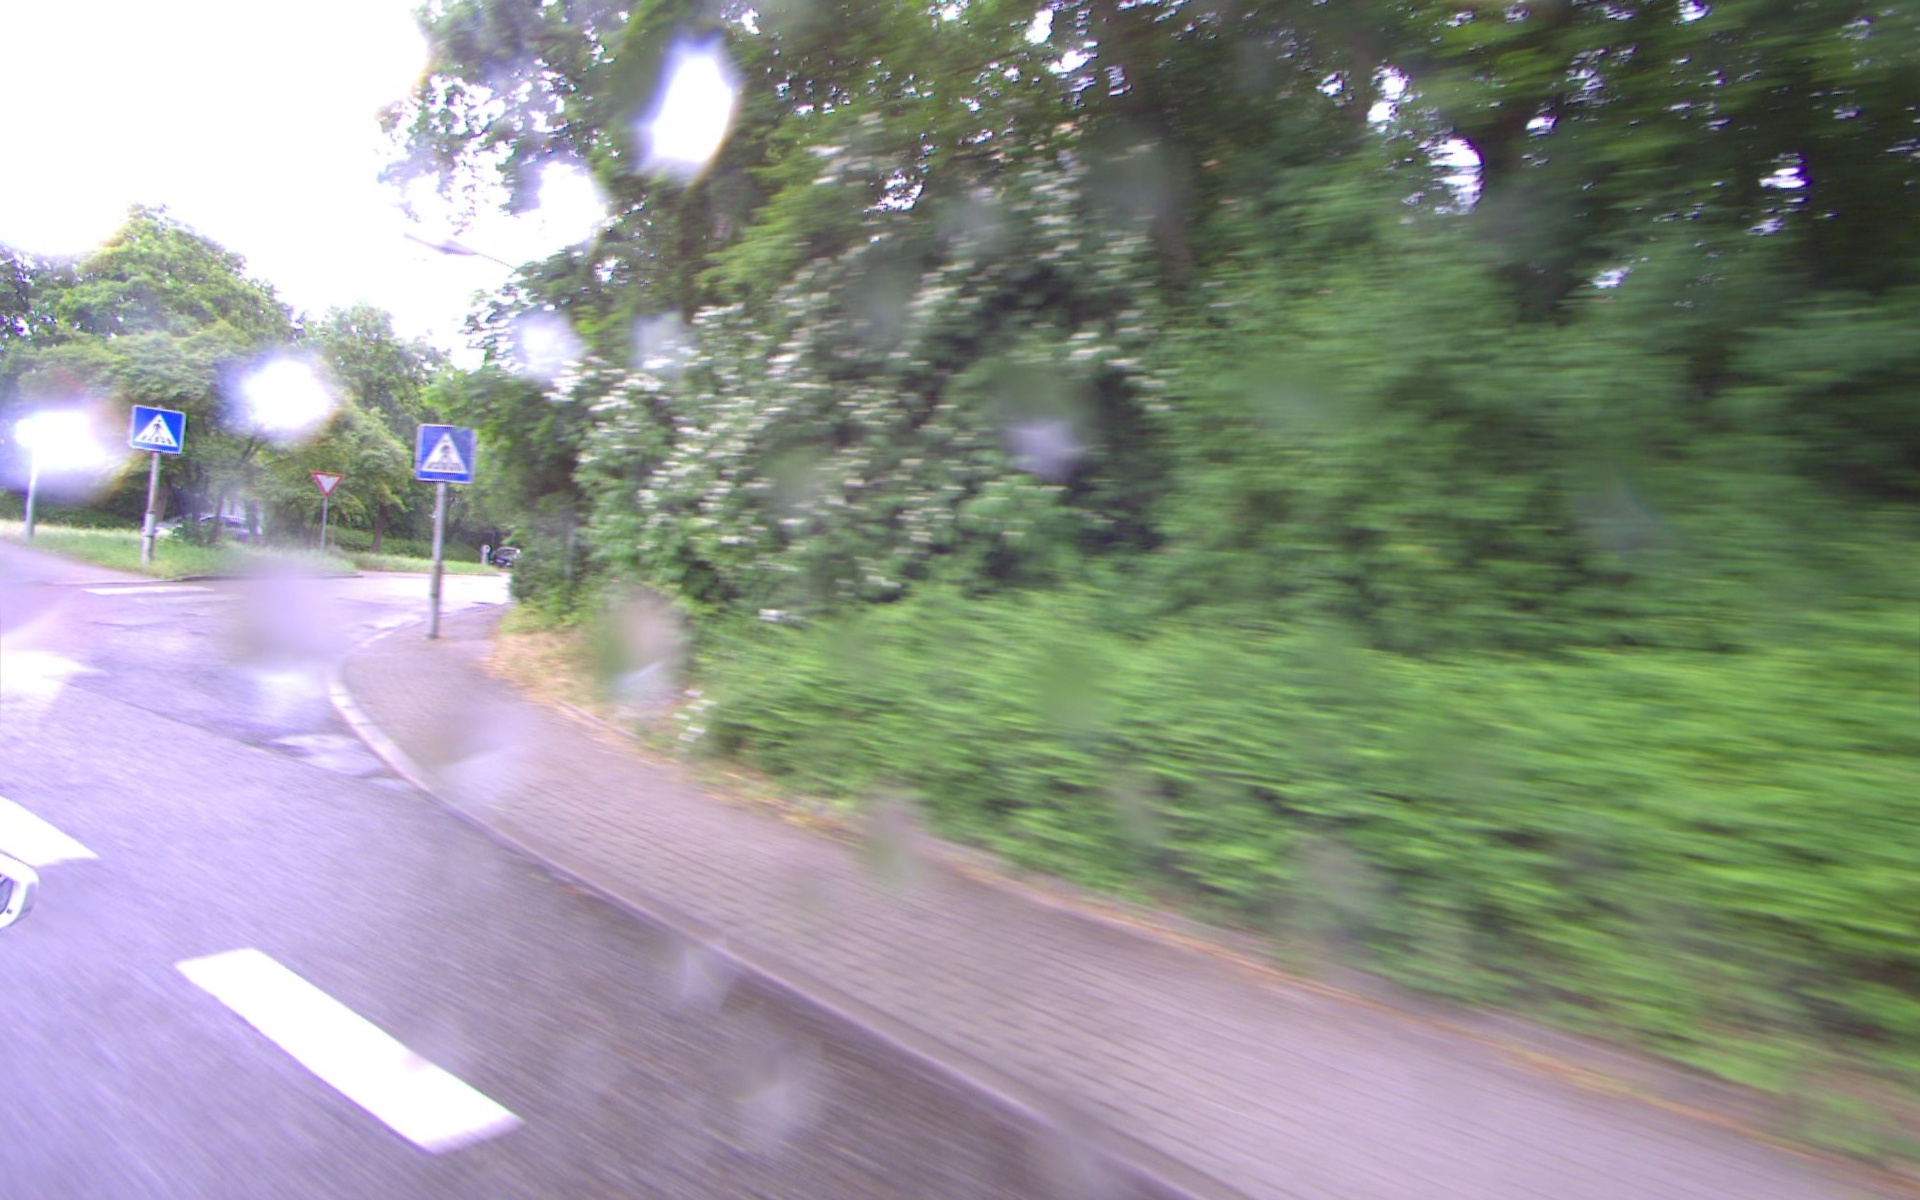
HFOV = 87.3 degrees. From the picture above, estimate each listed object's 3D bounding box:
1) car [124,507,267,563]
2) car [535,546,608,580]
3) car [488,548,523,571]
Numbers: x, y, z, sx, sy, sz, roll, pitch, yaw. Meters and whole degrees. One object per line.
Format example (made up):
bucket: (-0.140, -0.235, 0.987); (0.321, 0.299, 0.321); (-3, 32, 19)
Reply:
car: (-29.548, -2.485, 39.029); (1.716, 1.622, 4.029); (7, 0, 22)
car: (-26.121, -2.469, 67.825); (1.962, 1.738, 4.718); (7, 0, 17)
car: (-32.490, -2.854, 71.998); (1.651, 1.387, 3.477); (7, 0, -17)
